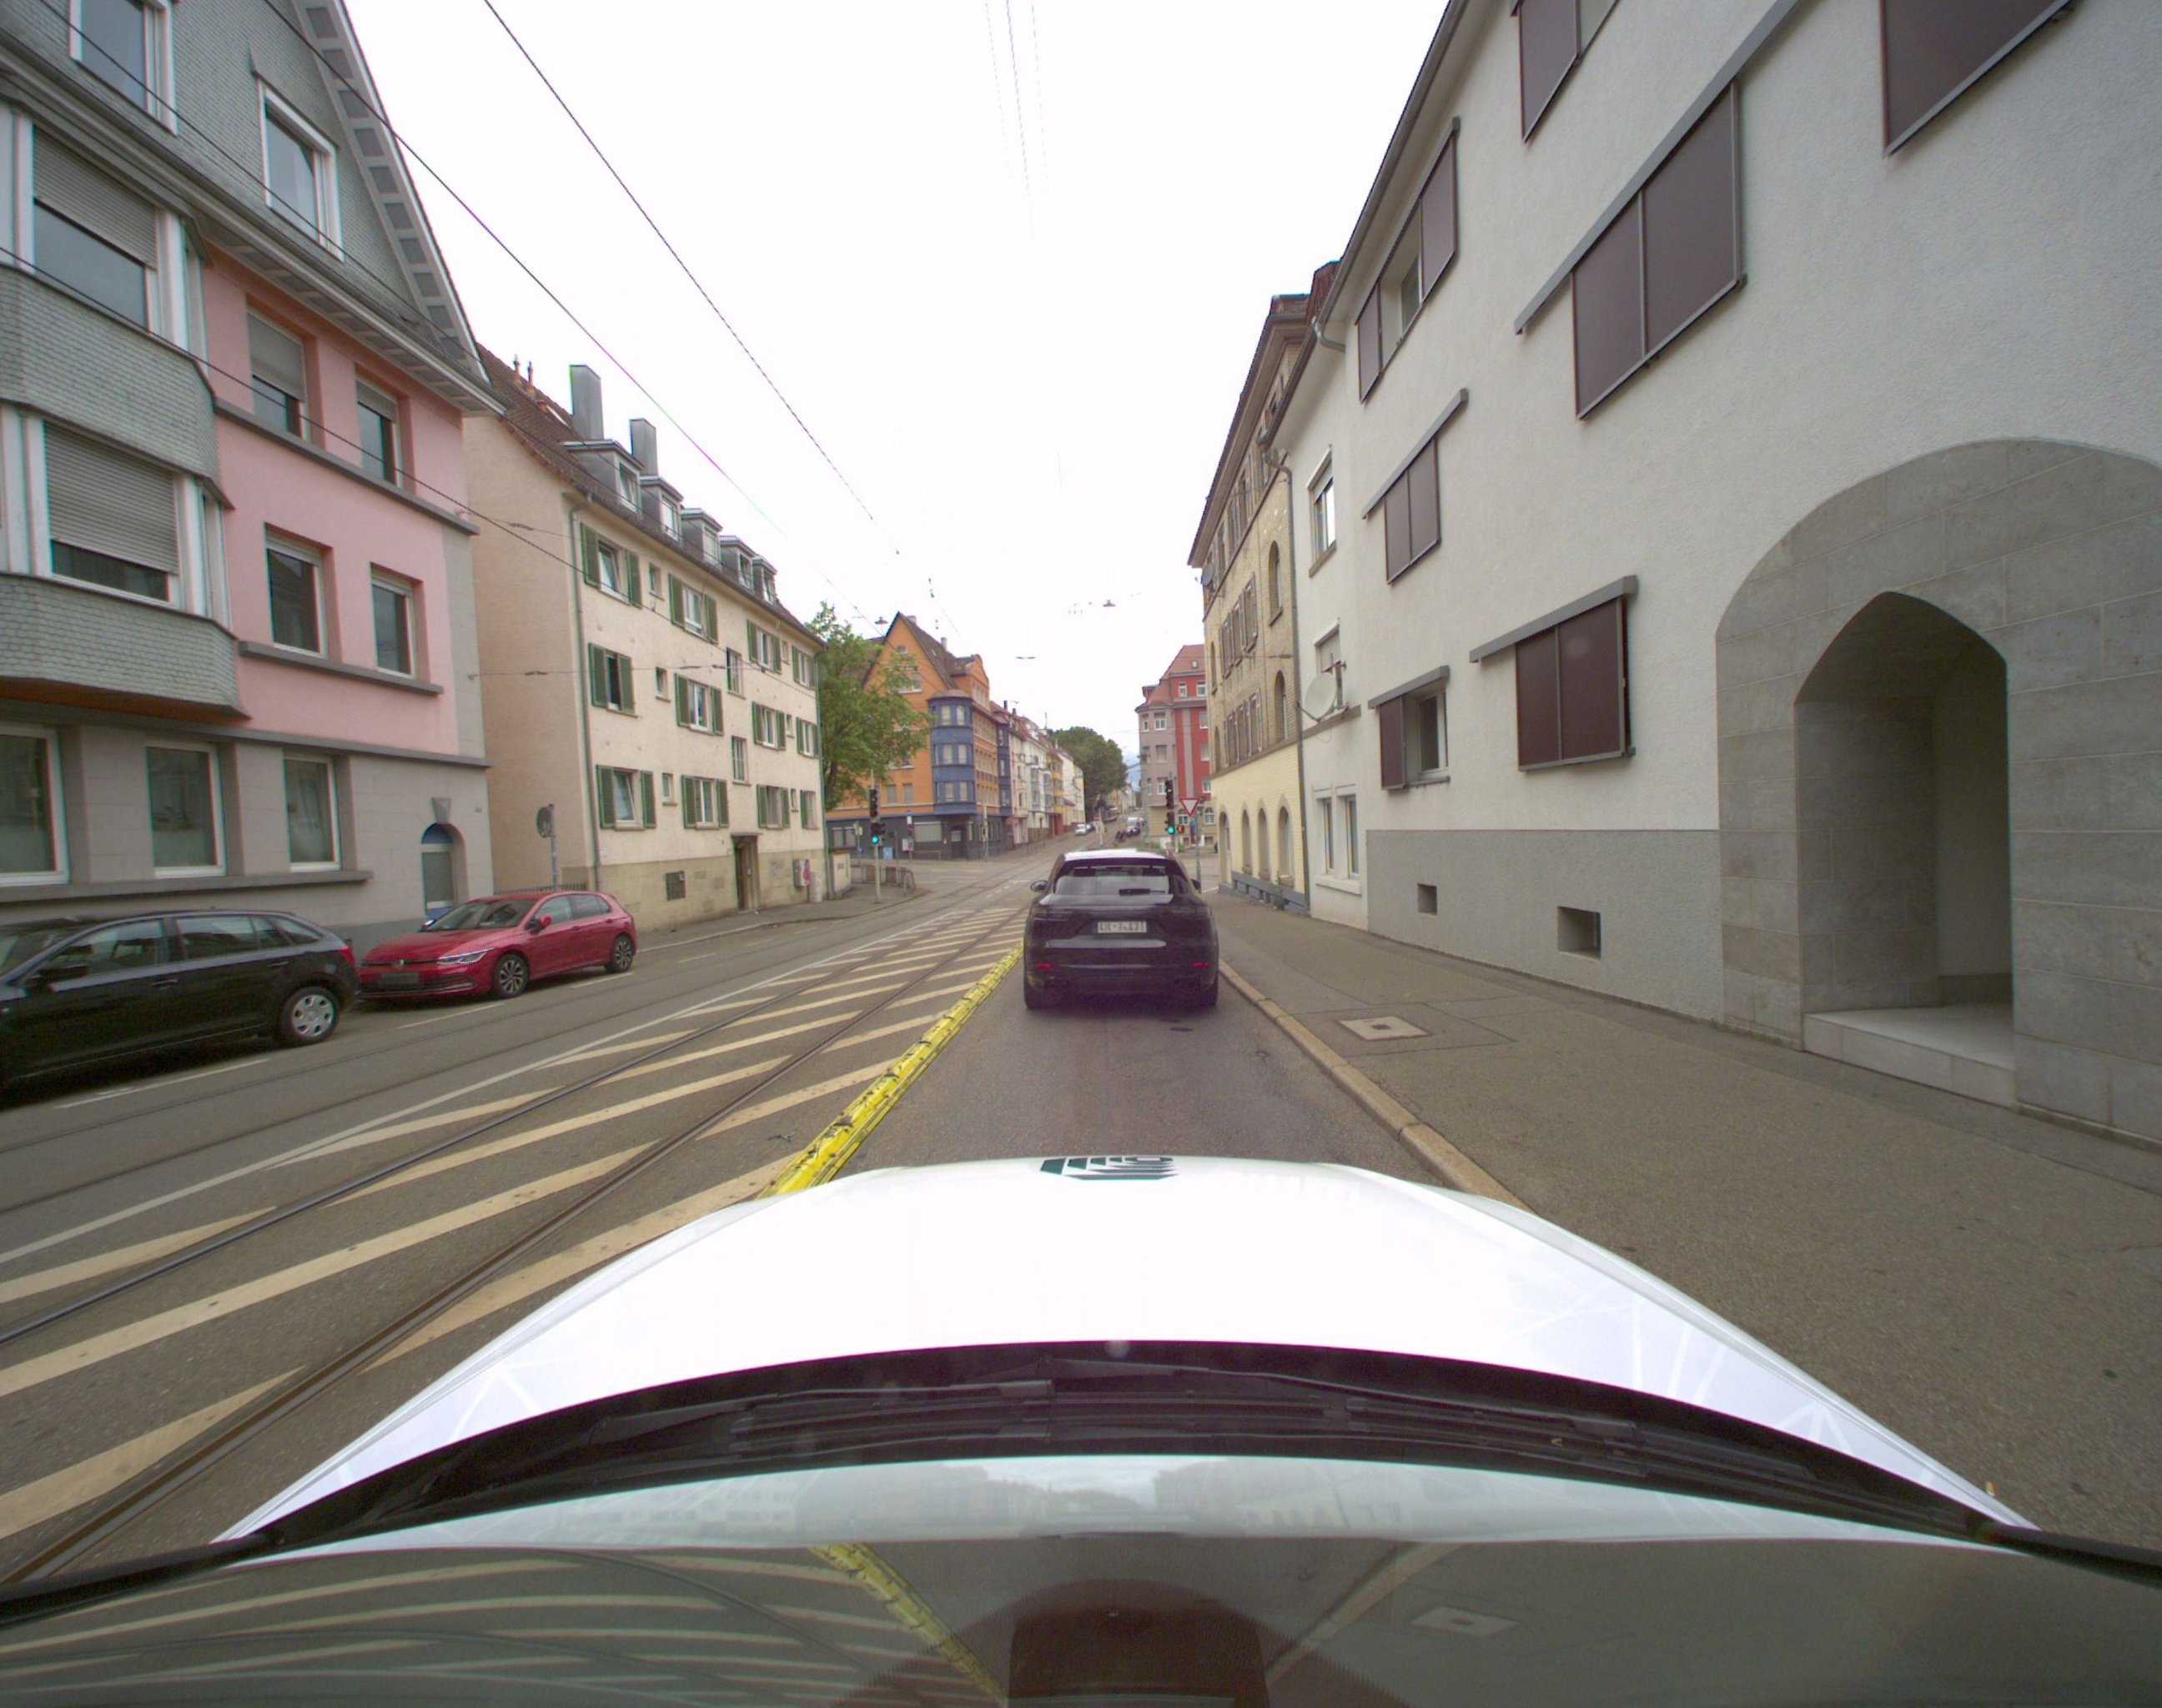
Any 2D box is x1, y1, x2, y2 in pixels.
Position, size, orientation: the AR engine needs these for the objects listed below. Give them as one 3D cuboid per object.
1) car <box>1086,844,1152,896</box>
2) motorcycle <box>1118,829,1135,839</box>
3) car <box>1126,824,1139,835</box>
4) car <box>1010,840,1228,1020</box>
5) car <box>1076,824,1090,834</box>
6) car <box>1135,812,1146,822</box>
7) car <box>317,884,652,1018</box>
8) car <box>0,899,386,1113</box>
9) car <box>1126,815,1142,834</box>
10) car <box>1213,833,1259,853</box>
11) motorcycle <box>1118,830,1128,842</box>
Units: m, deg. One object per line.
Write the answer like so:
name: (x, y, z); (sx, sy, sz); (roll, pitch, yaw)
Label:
car: (1.603, 0.609, 32.779); (1.852, 1.884, 4.300); (-3, 0, 12)
motorcycle: (6.261, -2.727, 111.660); (2.173, 1.326, 0.698); (-1, 2, -5)
car: (7.944, -3.771, 124.857); (1.831, 1.568, 3.827); (0, 2, 6)
car: (0.515, 0.658, 9.716); (2.015, 1.641, 4.362); (0, 1, 4)
car: (0.359, -4.231, 137.152); (1.983, 1.692, 4.008); (0, 2, 6)
car: (13.953, -8.637, 191.482); (2.255, 2.183, 4.779); (0, 2, 6)
car: (-8.660, 1.306, 12.413); (1.778, 1.438, 4.263); (-4, -1, 2)
car: (-8.752, 1.251, 6.978); (1.778, 1.410, 4.243); (-4, -1, 2)
car: (8.466, -4.772, 130.333); (2.255, 2.889, 4.779); (0, 2, 6)
car: (14.229, -1.040, 74.799); (4.163, 1.534, 1.896); (-5, 5, -40)
motorcycle: (5.177, -2.266, 101.188); (0.858, 1.326, 2.182); (-8, 3, -3)
